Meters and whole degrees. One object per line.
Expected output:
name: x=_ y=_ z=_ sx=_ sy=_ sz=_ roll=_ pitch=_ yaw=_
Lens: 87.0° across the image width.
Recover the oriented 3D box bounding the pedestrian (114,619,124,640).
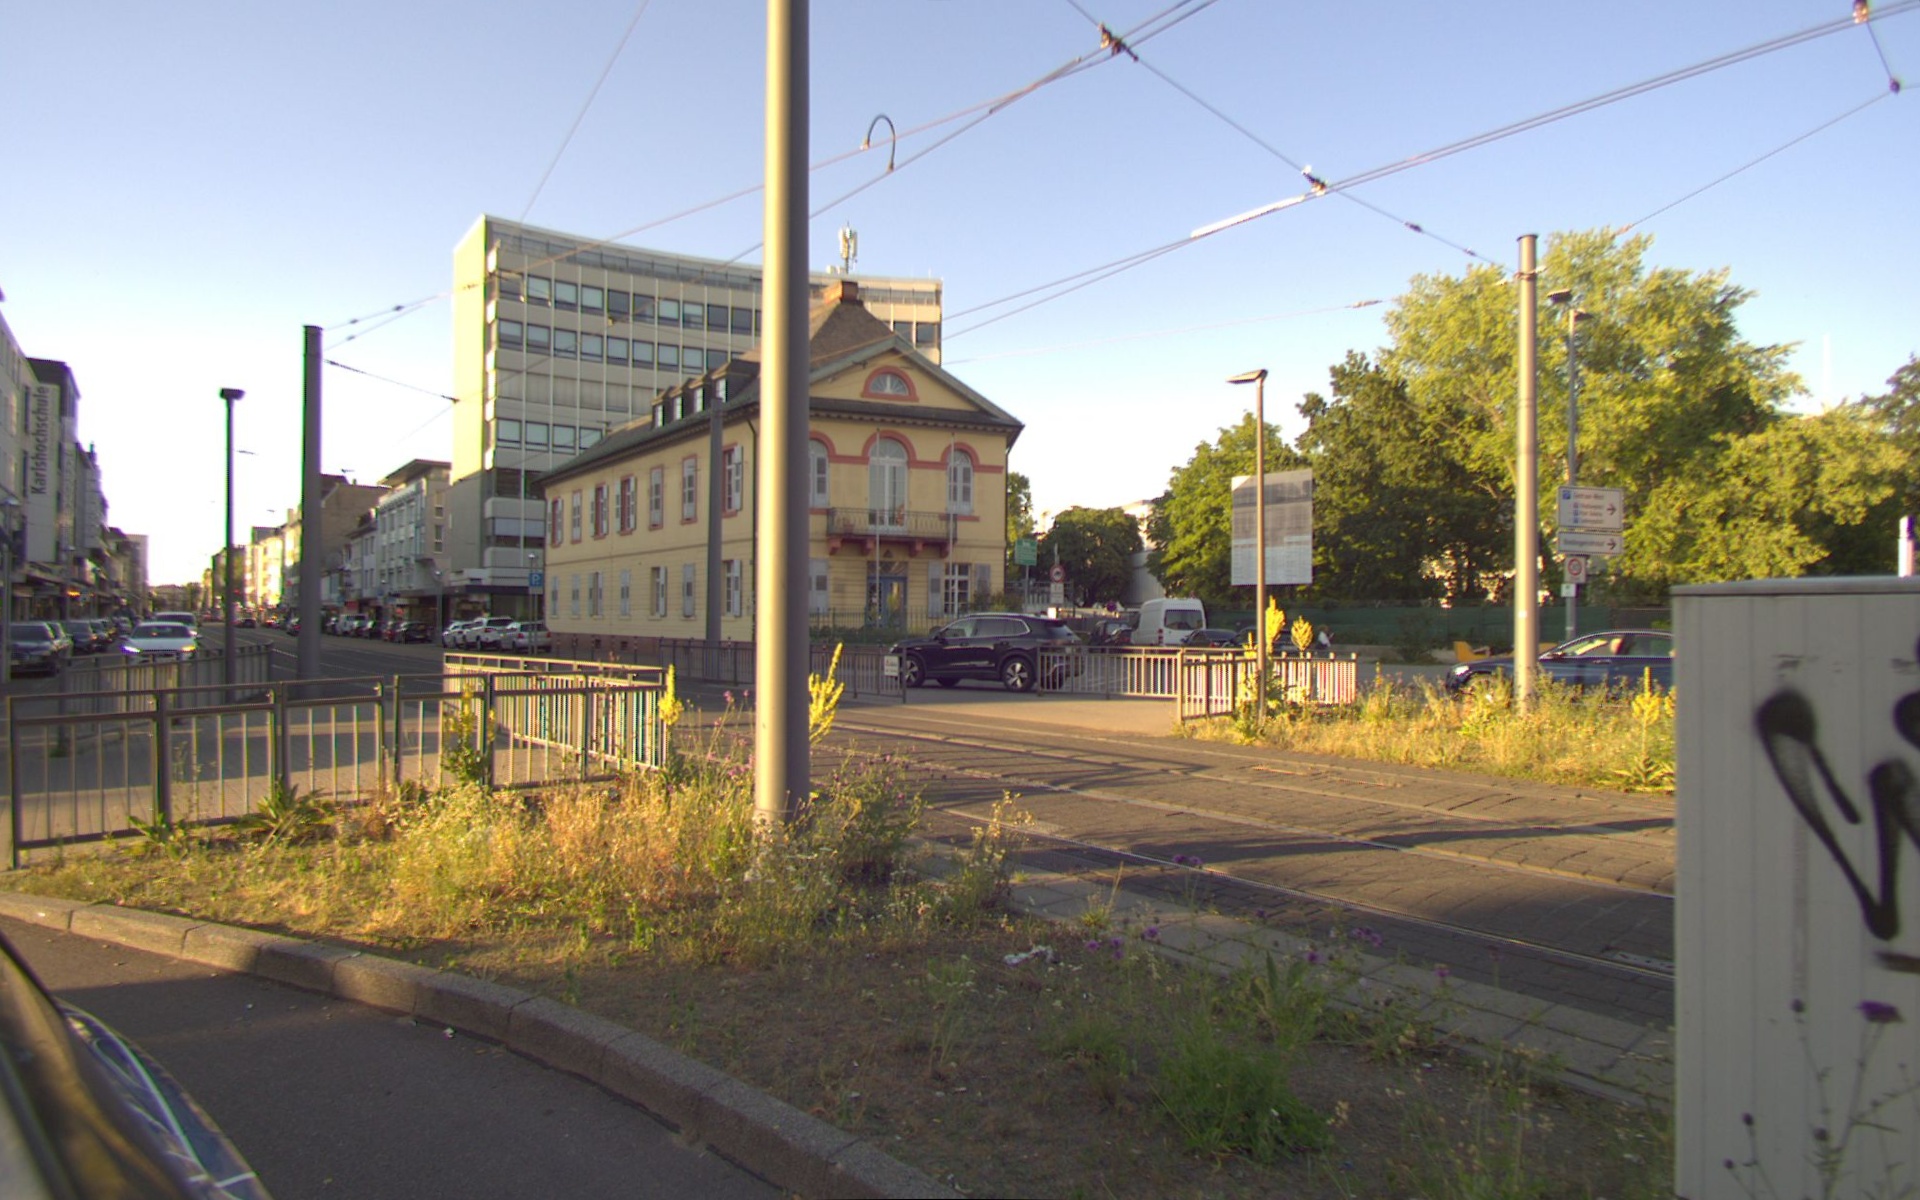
pedestrian: x=-71.041 y=2.500 z=85.474 sx=0.596 sy=1.740 sz=0.647 roll=2 pitch=-3 yaw=-39

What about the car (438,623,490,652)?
car: x=-27.586 y=2.079 z=56.245 sx=1.788 sy=1.523 sz=4.442 roll=2 pitch=-2 yaw=-37

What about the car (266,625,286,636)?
car: x=-96.409 y=4.334 z=142.594 sx=1.968 sy=1.564 sz=4.214 roll=2 pitch=-2 yaw=-38

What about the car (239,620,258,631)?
car: x=-102.595 y=3.663 z=145.909 sx=1.968 sy=1.564 sz=4.008 roll=1 pitch=-2 yaw=-38

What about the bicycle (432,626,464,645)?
bicycle: x=-38.792 y=2.718 z=76.676 sx=1.943 sy=1.436 sz=0.835 roll=2 pitch=-3 yaw=-40

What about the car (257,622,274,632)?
car: x=-109.467 y=4.300 z=159.509 sx=1.968 sy=1.564 sz=4.008 roll=1 pitch=-2 yaw=-38

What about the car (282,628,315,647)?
car: x=-57.287 y=3.237 z=87.571 sx=1.714 sy=1.523 sz=4.039 roll=2 pitch=-2 yaw=-43

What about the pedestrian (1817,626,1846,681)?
pedestrian: x=26.656 y=1.627 z=30.956 sx=0.600 sy=1.671 sz=0.528 roll=-1 pitch=-3 yaw=44

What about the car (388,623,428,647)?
car: x=-36.566 y=2.297 z=67.030 sx=1.664 sy=1.523 sz=4.223 roll=1 pitch=-2 yaw=-38

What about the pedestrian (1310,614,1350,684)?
pedestrian: x=10.273 y=1.348 z=28.146 sx=0.717 sy=1.907 sz=0.767 roll=1 pitch=-2 yaw=-15

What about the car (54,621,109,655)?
car: x=-41.428 y=1.785 z=47.797 sx=1.767 sy=1.523 sz=4.720 roll=4 pitch=-3 yaw=-39

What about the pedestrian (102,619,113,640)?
pedestrian: x=-71.621 y=2.446 z=85.030 sx=0.601 sy=1.767 sz=0.606 roll=2 pitch=-3 yaw=-39

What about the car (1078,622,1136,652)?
car: x=7.621 y=1.894 z=52.863 sx=1.969 sy=1.497 sz=4.099 roll=0 pitch=-2 yaw=-6

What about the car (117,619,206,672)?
car: x=-24.184 y=1.340 z=30.622 sx=1.968 sy=1.469 sz=4.007 roll=2 pitch=-2 yaw=-39

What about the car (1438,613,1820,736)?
car: x=10.028 y=1.030 z=15.437 sx=4.588 sy=1.597 sz=1.971 roll=-1 pitch=-2 yaw=44

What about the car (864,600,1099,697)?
car: x=0.440 y=1.010 z=22.094 sx=4.790 sy=1.916 sz=1.981 roll=-1 pitch=-2 yaw=29

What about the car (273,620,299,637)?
car: x=-64.615 y=2.715 z=96.934 sx=1.782 sy=1.523 sz=4.044 roll=4 pitch=-3 yaw=-37

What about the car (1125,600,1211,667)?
car: x=8.605 y=1.389 z=42.428 sx=2.066 sy=2.650 sz=5.431 roll=0 pitch=-2 yaw=-5

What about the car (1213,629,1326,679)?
car: x=9.727 y=1.668 z=32.152 sx=1.969 sy=1.497 sz=4.005 roll=0 pitch=-2 yaw=-6

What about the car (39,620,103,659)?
car: x=-37.723 y=1.660 z=43.016 sx=1.713 sy=1.523 sz=4.312 roll=3 pitch=-3 yaw=-38

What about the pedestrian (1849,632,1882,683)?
pedestrian: x=27.214 y=1.706 z=30.406 sx=0.631 sy=1.507 sz=0.626 roll=2 pitch=-2 yaw=-39

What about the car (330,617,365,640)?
car: x=-54.429 y=2.513 z=89.922 sx=1.930 sy=1.992 sz=5.172 roll=2 pitch=-3 yaw=-39

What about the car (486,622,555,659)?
car: x=-20.605 y=1.860 z=47.409 sx=1.790 sy=1.629 sz=4.221 roll=2 pitch=-2 yaw=-41

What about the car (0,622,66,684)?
car: x=-24.964 y=1.343 z=26.702 sx=1.713 sy=1.523 sz=4.695 roll=3 pitch=-3 yaw=-38

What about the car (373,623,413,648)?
car: x=-39.875 y=2.506 z=71.170 sx=1.664 sy=1.523 sz=4.223 roll=9 pitch=-7 yaw=-37

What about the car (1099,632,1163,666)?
car: x=8.119 y=2.314 z=48.363 sx=1.969 sy=1.497 sz=4.099 roll=0 pitch=-2 yaw=-6

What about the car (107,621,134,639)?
car: x=-75.786 y=2.725 z=91.384 sx=1.656 sy=1.554 sz=3.894 roll=3 pitch=-3 yaw=-37

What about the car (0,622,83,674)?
car: x=-28.916 y=1.477 z=31.811 sx=1.762 sy=1.523 sz=4.060 roll=3 pitch=-3 yaw=-38

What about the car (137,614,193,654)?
car: x=-38.631 y=1.646 z=49.149 sx=1.968 sy=1.830 sz=4.007 roll=2 pitch=-2 yaw=-40

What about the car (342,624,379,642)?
car: x=-49.823 y=2.719 z=84.041 sx=1.968 sy=1.477 sz=4.566 roll=0 pitch=-1 yaw=-39

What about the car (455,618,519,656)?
car: x=-24.013 y=1.835 z=51.288 sx=1.790 sy=1.799 sz=4.505 roll=-2 pitch=0 yaw=-40

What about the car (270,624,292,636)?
car: x=-89.308 y=3.994 z=133.078 sx=1.968 sy=1.564 sz=4.008 roll=2 pitch=-2 yaw=-38

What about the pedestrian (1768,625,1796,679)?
pedestrian: x=26.099 y=1.640 z=32.139 sx=0.598 sy=1.671 sz=0.530 roll=-1 pitch=-2 yaw=32

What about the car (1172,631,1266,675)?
car: x=9.365 y=1.906 z=36.939 sx=1.969 sy=1.497 sz=4.099 roll=0 pitch=-2 yaw=-6
